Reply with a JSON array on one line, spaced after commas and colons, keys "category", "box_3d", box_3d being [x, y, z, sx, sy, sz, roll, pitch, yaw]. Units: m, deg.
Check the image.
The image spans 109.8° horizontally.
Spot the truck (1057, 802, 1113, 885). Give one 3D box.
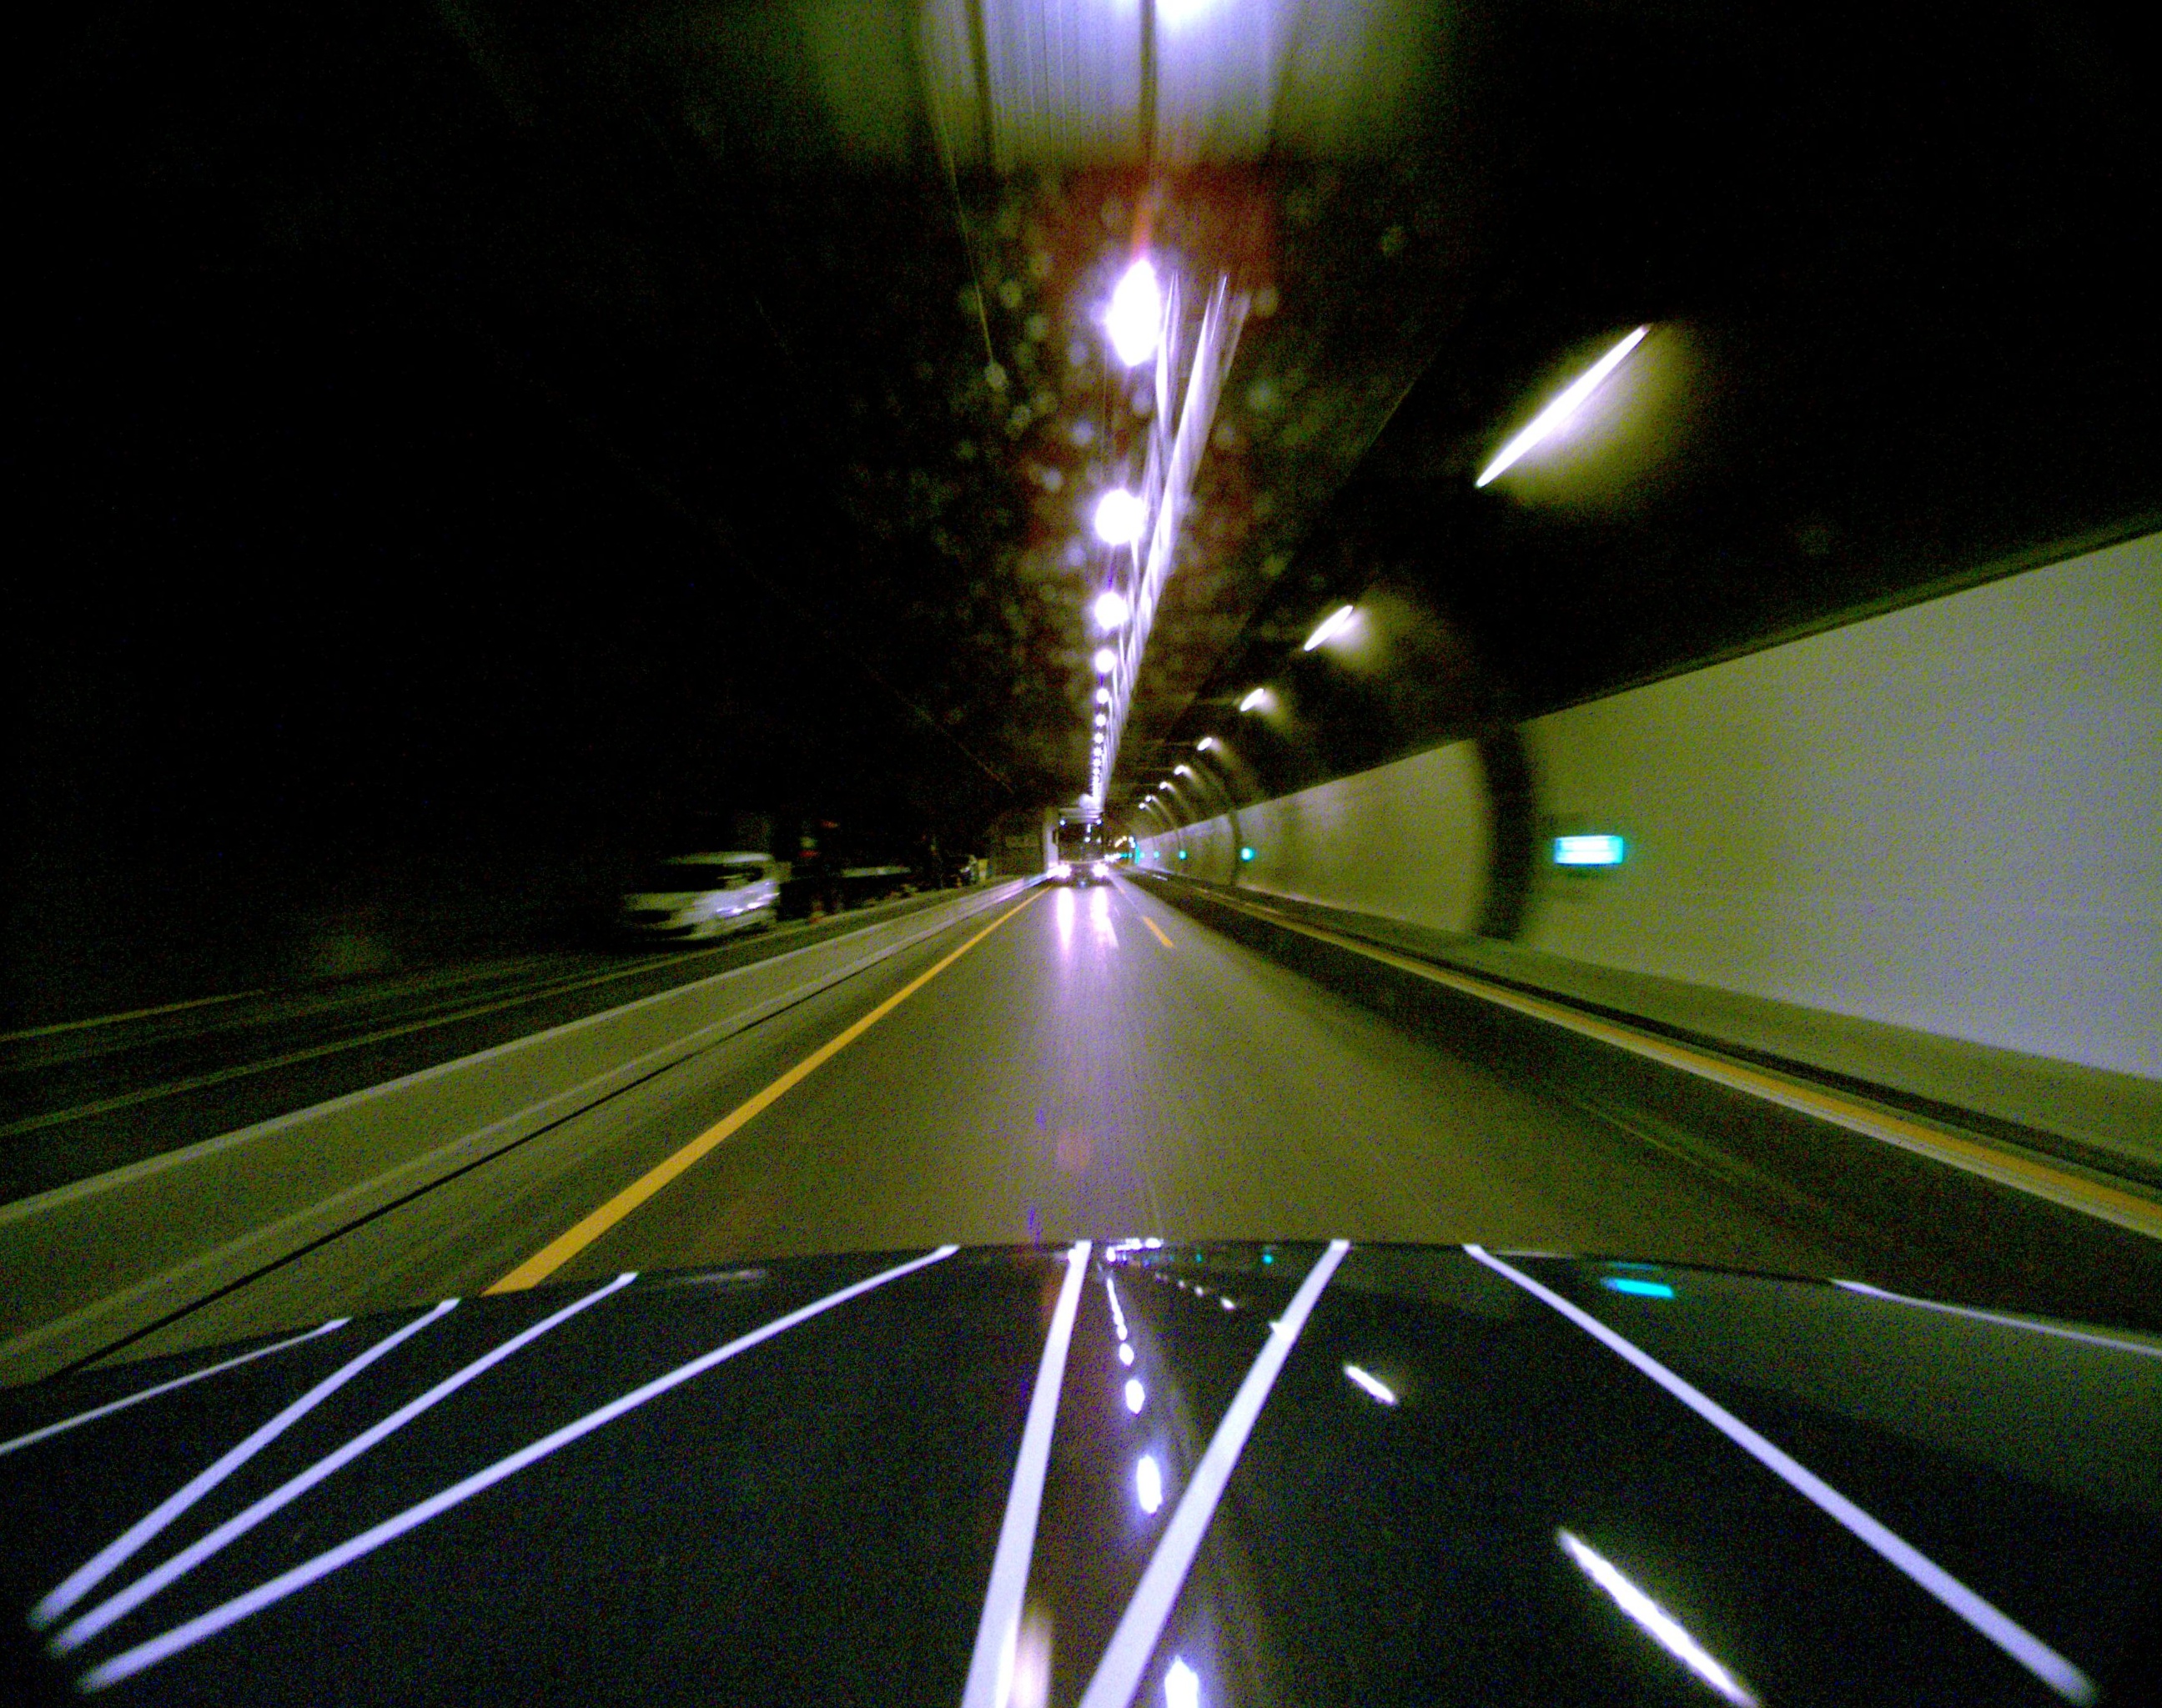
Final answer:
[{"category": "truck", "box_3d": [0.253, -0.571, 42.803, 2.769, 4.198, 7.977, -1, 1, 1]}]

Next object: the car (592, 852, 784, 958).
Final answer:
[{"category": "car", "box_3d": [-7.837, 0.898, 15.721, 1.756, 1.834, 4.644, -1, 0, -4]}]

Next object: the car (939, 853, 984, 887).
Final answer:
[{"category": "car", "box_3d": [-7.079, 0.894, 45.688, 1.832, 1.848, 5.441, -3, 0, -1]}]
